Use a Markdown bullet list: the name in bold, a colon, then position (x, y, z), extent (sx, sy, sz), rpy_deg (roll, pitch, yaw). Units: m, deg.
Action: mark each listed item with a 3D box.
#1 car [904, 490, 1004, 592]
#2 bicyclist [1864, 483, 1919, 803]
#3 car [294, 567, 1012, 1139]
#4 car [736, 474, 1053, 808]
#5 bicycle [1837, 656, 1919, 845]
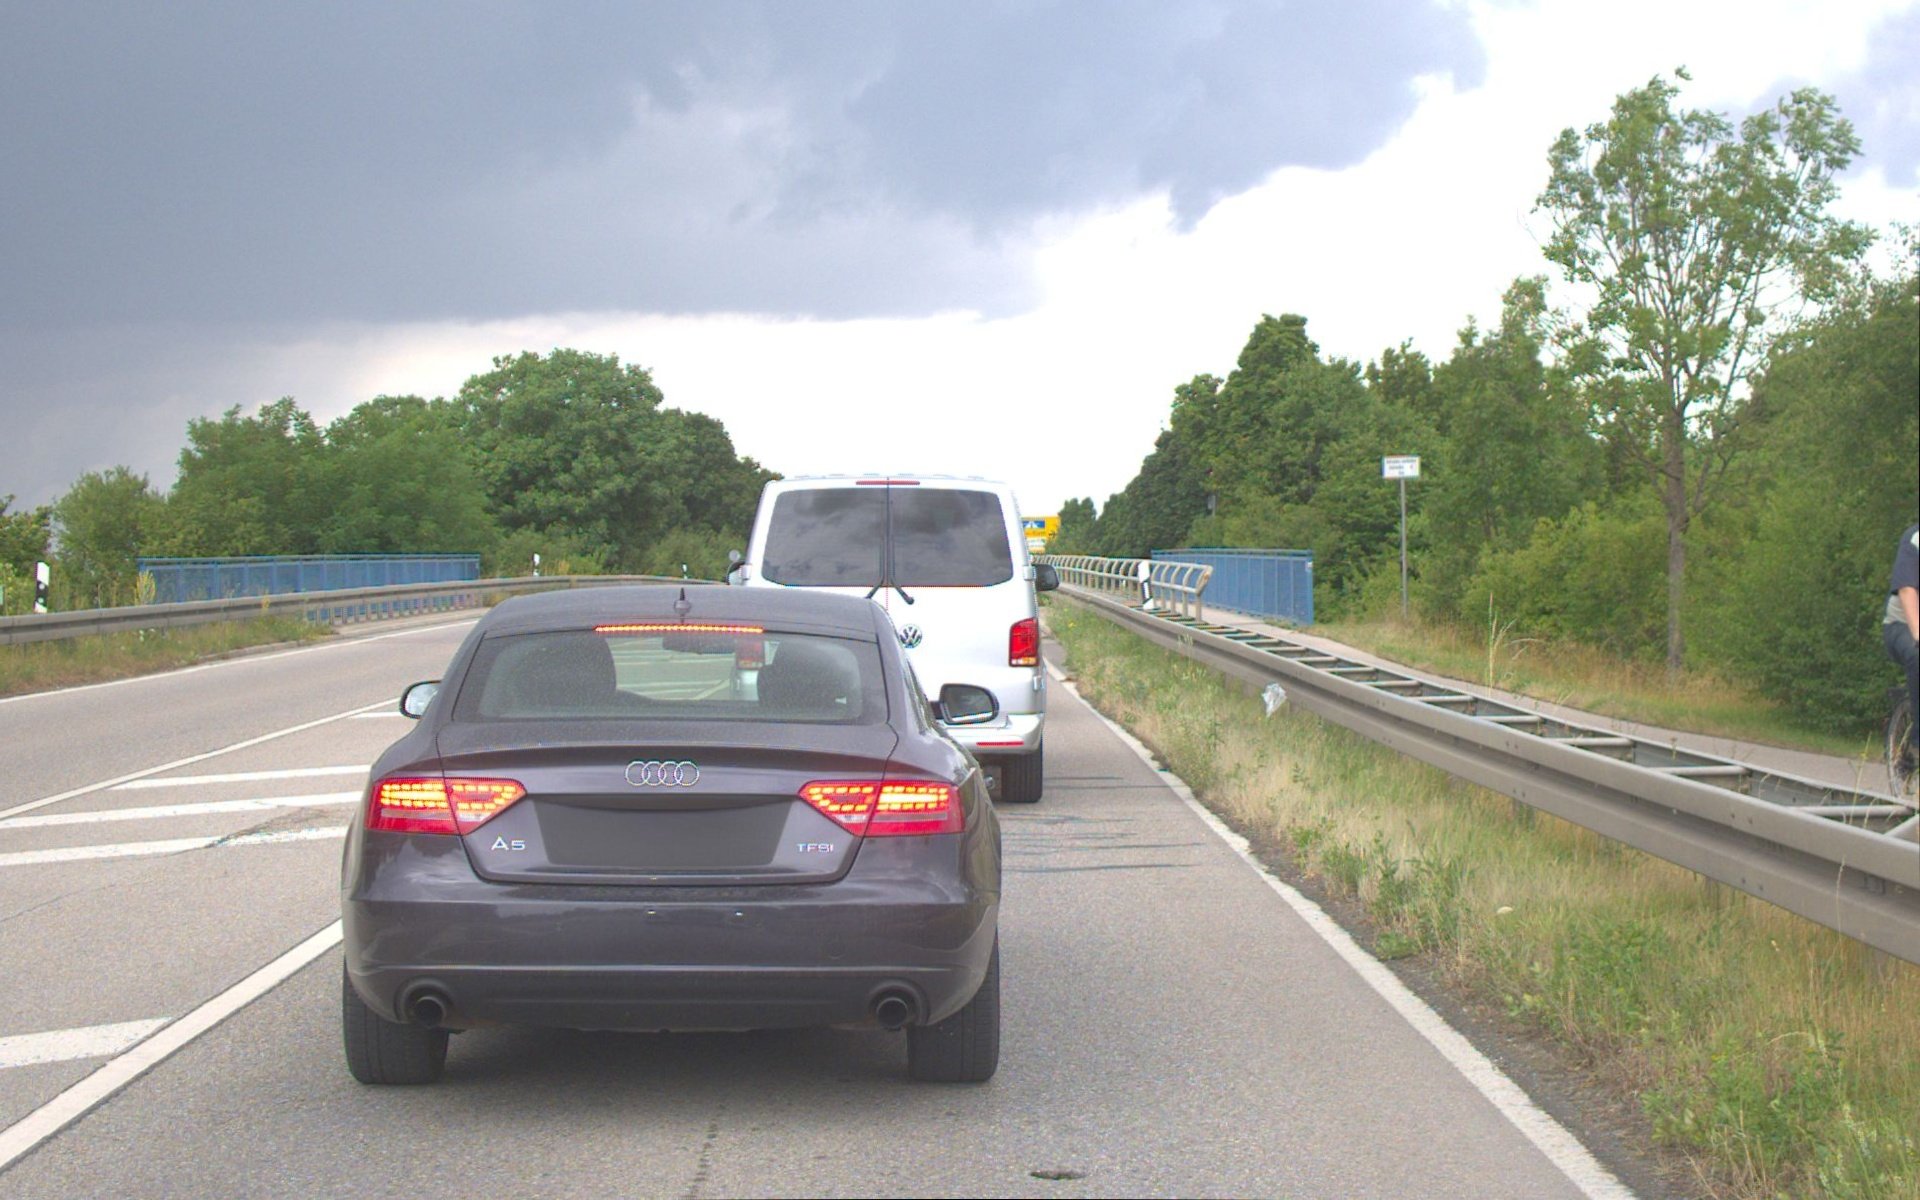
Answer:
- **car**: position (-0.161, -1.503, 87.512), extent (2.447, 2.495, 5.041), rpy_deg (1, 1, 0)
- **bicyclist**: position (5.202, 0.213, 18.082), extent (0.647, 1.639, 0.866), rpy_deg (0, 0, -1)
- **car**: position (-0.793, 0.624, 10.647), extent (1.785, 1.419, 4.000), rpy_deg (1, 0, -1)
- **car**: position (-0.395, 0.224, 21.632), extent (1.785, 1.883, 4.000), rpy_deg (1, 0, -1)
- **bicycle**: position (5.211, 0.778, 18.161), extent (0.666, 0.917, 1.830), rpy_deg (-1, 1, -1)
